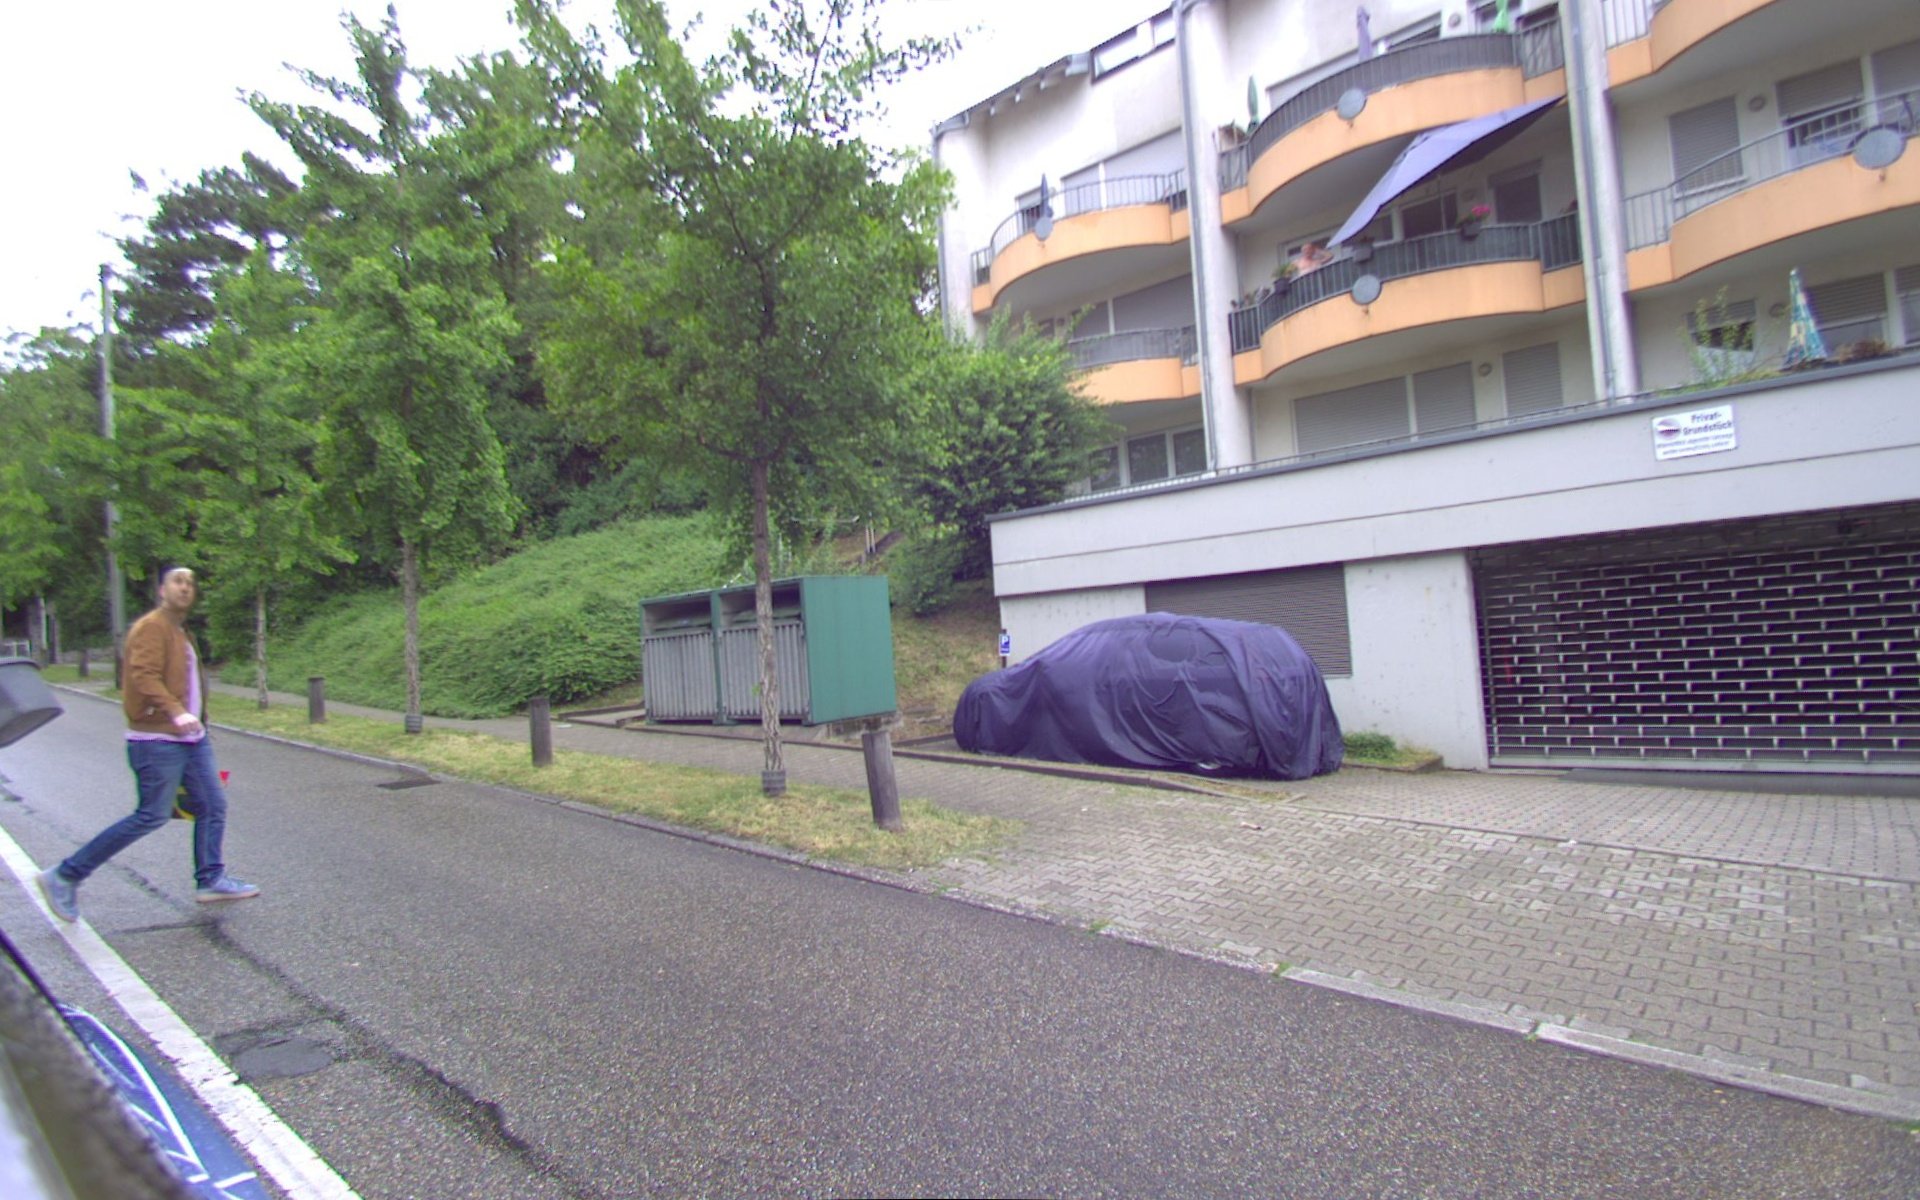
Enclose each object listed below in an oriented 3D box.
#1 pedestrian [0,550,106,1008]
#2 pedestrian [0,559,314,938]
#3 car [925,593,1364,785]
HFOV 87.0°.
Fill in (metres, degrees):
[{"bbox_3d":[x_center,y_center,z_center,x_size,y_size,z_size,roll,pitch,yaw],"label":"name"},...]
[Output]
[{"bbox_3d":[-4.311,0.722,4.137,1.055,1.795,0.827,-3,1,-31],"label":"pedestrian"},{"bbox_3d":[-4.154,0.710,5.306,1.056,1.795,0.826,0,-1,-12],"label":"pedestrian"},{"bbox_3d":[1.748,0.824,10.354,4.096,1.573,1.759,-2,-4,41],"label":"car"}]
